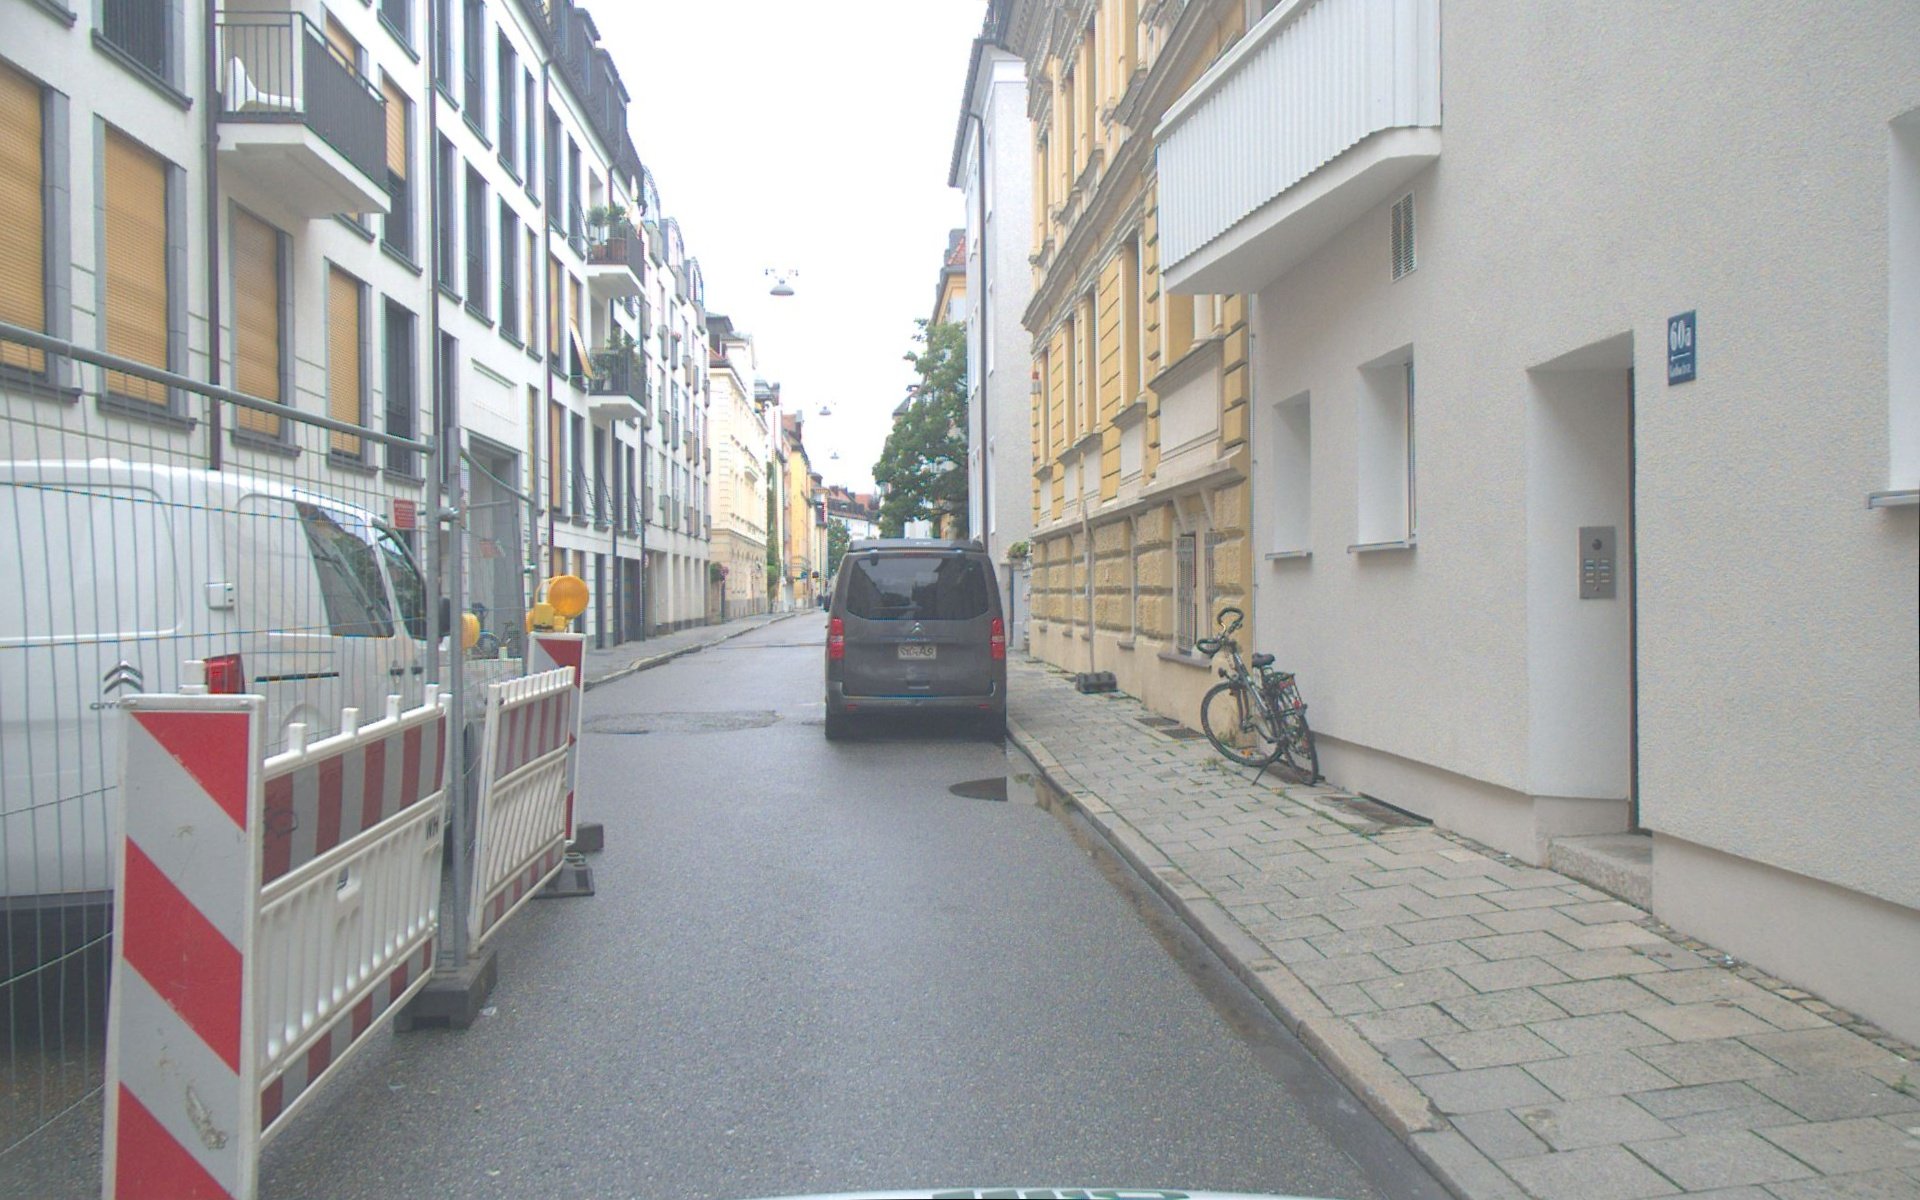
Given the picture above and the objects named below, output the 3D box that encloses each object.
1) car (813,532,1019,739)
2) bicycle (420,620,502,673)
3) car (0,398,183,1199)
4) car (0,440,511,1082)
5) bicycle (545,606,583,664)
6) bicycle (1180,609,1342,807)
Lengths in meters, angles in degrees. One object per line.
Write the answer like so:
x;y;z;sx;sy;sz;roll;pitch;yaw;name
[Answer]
-0.581;0.323;18.091;1.954;1.965;4.656;0;0;-4;car
-8.976;0.832;29.792;1.377;0.904;0.375;-1;2;-38;bicycle
-2.916;0.539;1.873;1.693;1.930;5.505;-3;0;-4;car
-3.396;0.489;7.480;1.868;1.930;5.081;-1;0;-7;car
-8.331;0.723;34.848;0.333;1.166;2.190;-2;-1;-2;bicycle
2.040;0.690;11.455;0.625;1.173;1.914;-4;1;-3;bicycle
